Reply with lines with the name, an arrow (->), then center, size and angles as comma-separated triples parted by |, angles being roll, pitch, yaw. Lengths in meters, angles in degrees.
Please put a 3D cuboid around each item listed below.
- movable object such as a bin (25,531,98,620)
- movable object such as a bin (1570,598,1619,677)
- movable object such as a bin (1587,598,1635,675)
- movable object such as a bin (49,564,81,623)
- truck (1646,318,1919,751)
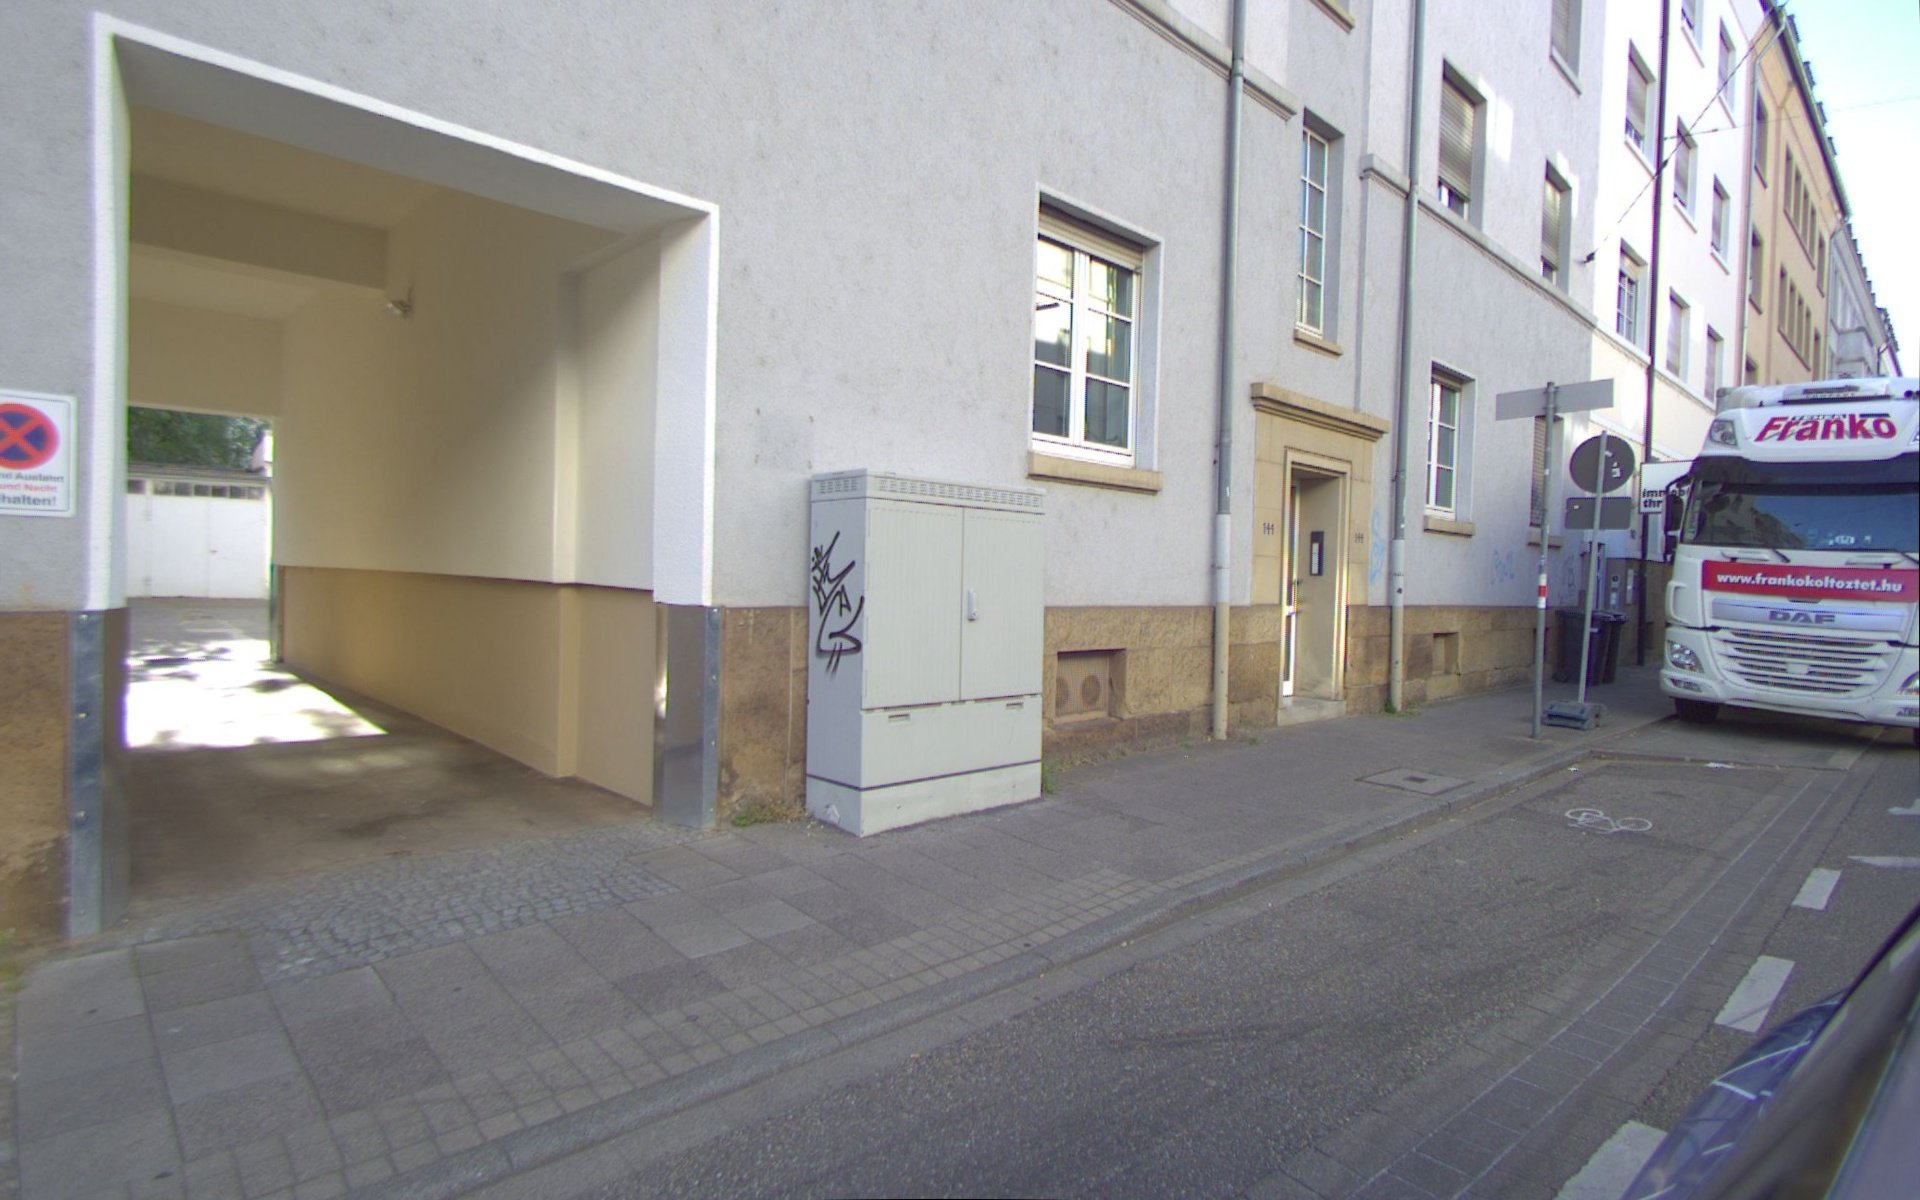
movable object such as a bin -> -14.861, -0.409, 16.743 | 0.874, 1.409, 0.758 | 0, 4, -44
movable object such as a bin -> 9.151, 0.527, 14.596 | 0.511, 1.106, 0.488 | 0, 0, 45
movable object such as a bin -> 9.616, 0.528, 14.942 | 0.511, 1.106, 0.488 | 0, 0, 45
movable object such as a bin -> -14.369, -0.114, 16.250 | 0.366, 0.919, 0.420 | 0, 3, -44
truck -> 12.581, -0.602, 13.886 | 11.511, 4.012, 2.894 | 0, 0, -44
